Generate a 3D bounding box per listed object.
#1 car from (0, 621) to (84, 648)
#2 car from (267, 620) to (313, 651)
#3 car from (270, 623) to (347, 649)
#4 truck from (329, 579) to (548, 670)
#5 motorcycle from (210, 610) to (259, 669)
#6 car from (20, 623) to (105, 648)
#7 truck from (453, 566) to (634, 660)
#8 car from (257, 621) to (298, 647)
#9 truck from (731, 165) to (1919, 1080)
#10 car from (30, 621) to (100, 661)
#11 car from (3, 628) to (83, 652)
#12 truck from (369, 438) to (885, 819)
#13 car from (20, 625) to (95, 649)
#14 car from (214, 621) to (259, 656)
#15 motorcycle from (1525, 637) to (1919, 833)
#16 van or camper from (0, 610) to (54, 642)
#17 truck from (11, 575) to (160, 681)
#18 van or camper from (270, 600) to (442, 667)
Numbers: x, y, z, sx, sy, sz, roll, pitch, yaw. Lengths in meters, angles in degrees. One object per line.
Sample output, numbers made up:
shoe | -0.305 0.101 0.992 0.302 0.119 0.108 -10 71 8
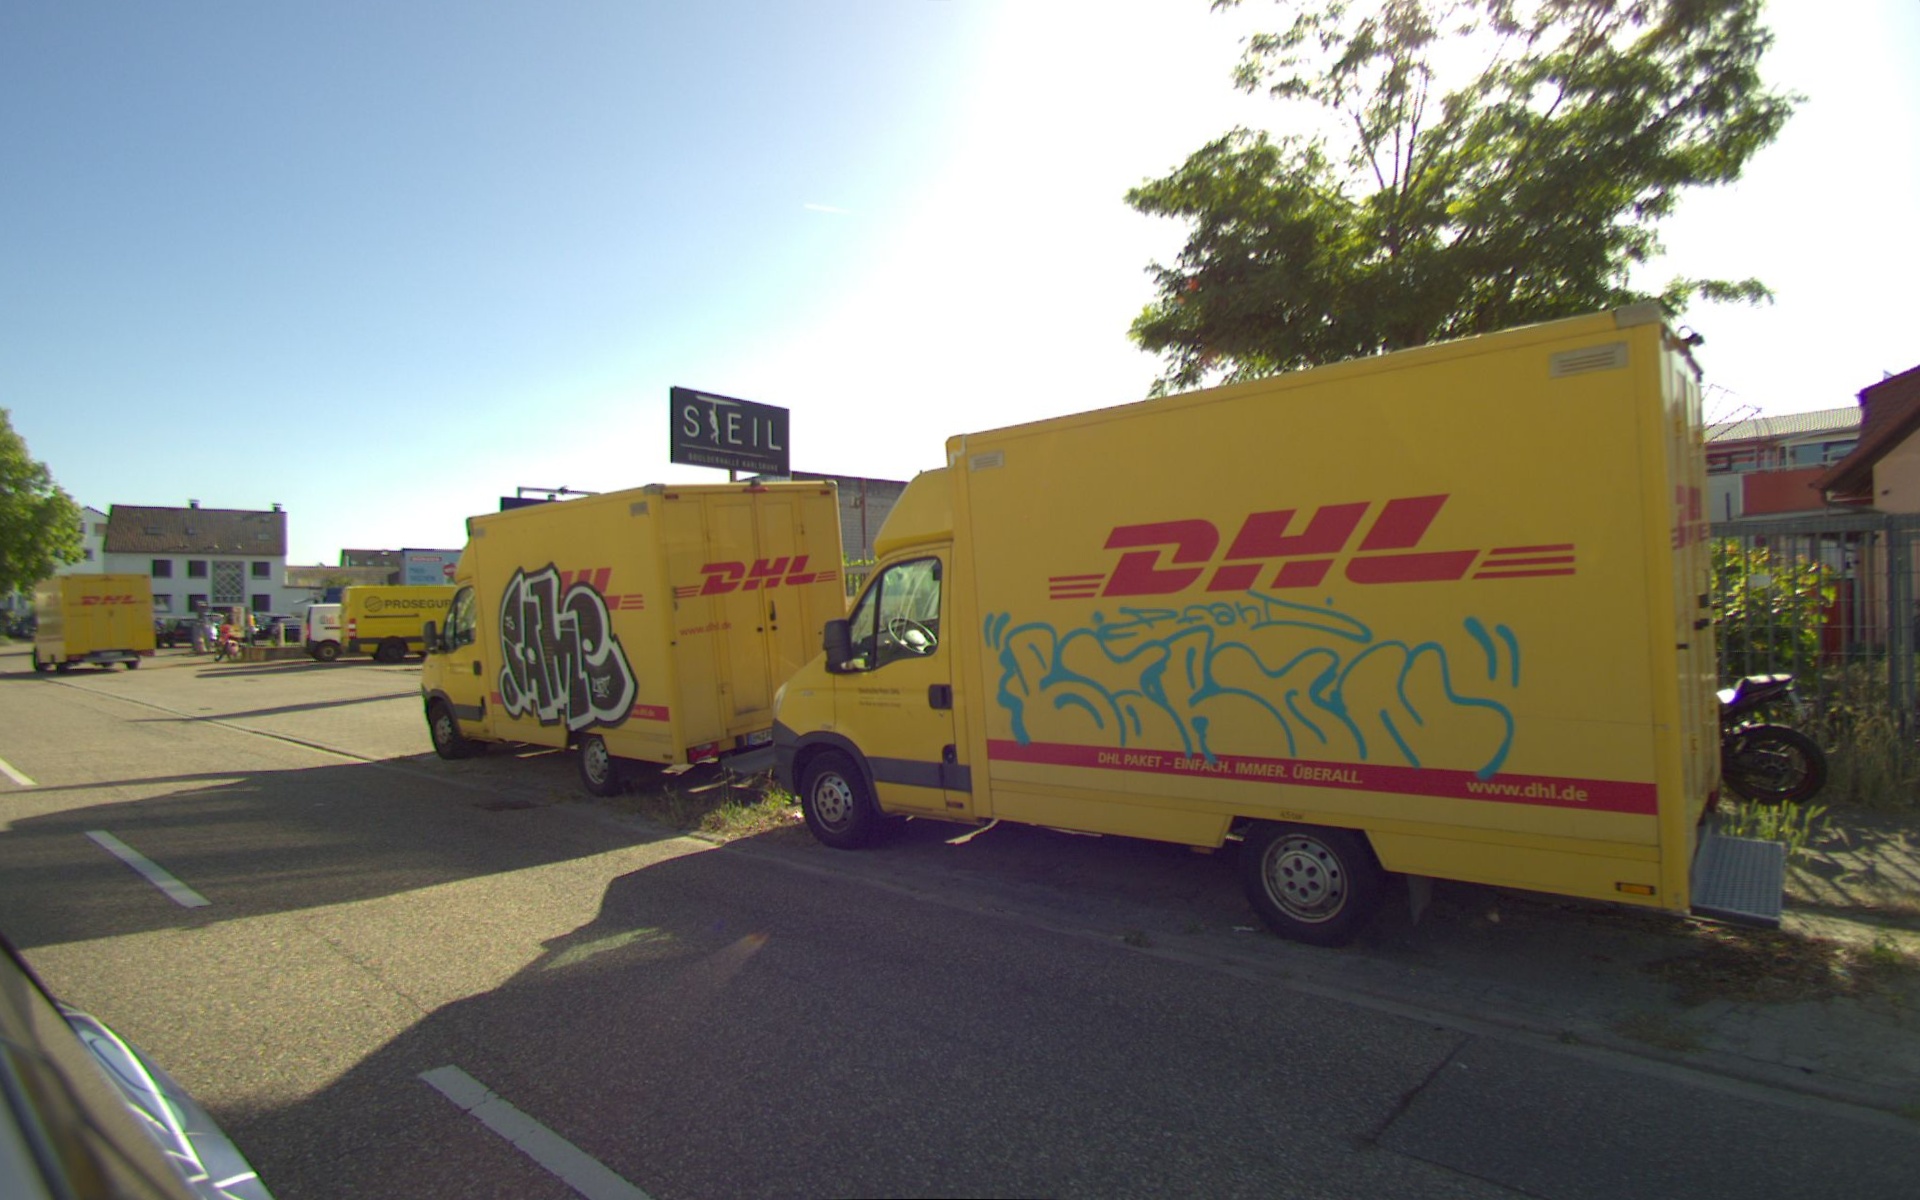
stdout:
car | -60.909 2.253 67.027 1.766 1.766 4.201 -2 -2 44
car | -35.886 1.926 54.175 1.753 1.557 4.172 0 -3 -38
car | -40.249 2.176 62.571 3.934 1.461 1.673 0 0 -36
truck | -16.494 0.703 32.187 5.845 2.587 2.228 -2 0 -38
motorcycle | -24.857 1.345 34.659 3.041 1.887 0.772 -3 1 45
car | -62.386 2.427 70.407 1.764 1.598 4.206 -2 -1 40
truck | -15.208 0.412 37.107 5.596 3.143 2.528 -2 0 -38
car | -43.917 2.172 65.104 1.644 1.576 3.853 0 -1 -43
truck | 1.454 0.120 6.158 6.437 2.924 2.169 -2 0 42
car | -42.445 1.904 47.956 4.273 1.727 1.843 -1 1 40
car | -65.218 2.849 72.026 4.199 1.553 1.767 0 -1 -44
truck | -3.922 0.252 10.982 6.371 3.005 2.378 -1 0 41
car | -63.349 2.574 71.055 1.547 1.553 3.766 -2 -1 41
car | -38.570 2.050 53.924 1.753 1.762 4.172 0 -3 -38
motorcycle | 5.386 0.874 7.300 2.175 1.190 0.747 -2 -1 41
van or camper | -71.021 1.940 75.624 4.830 2.338 2.248 0 0 -39
truck | -27.679 0.835 31.915 7.239 3.005 2.379 -1 0 40
van or camper | -19.788 1.069 33.236 4.489 2.029 2.253 1 -2 -43
